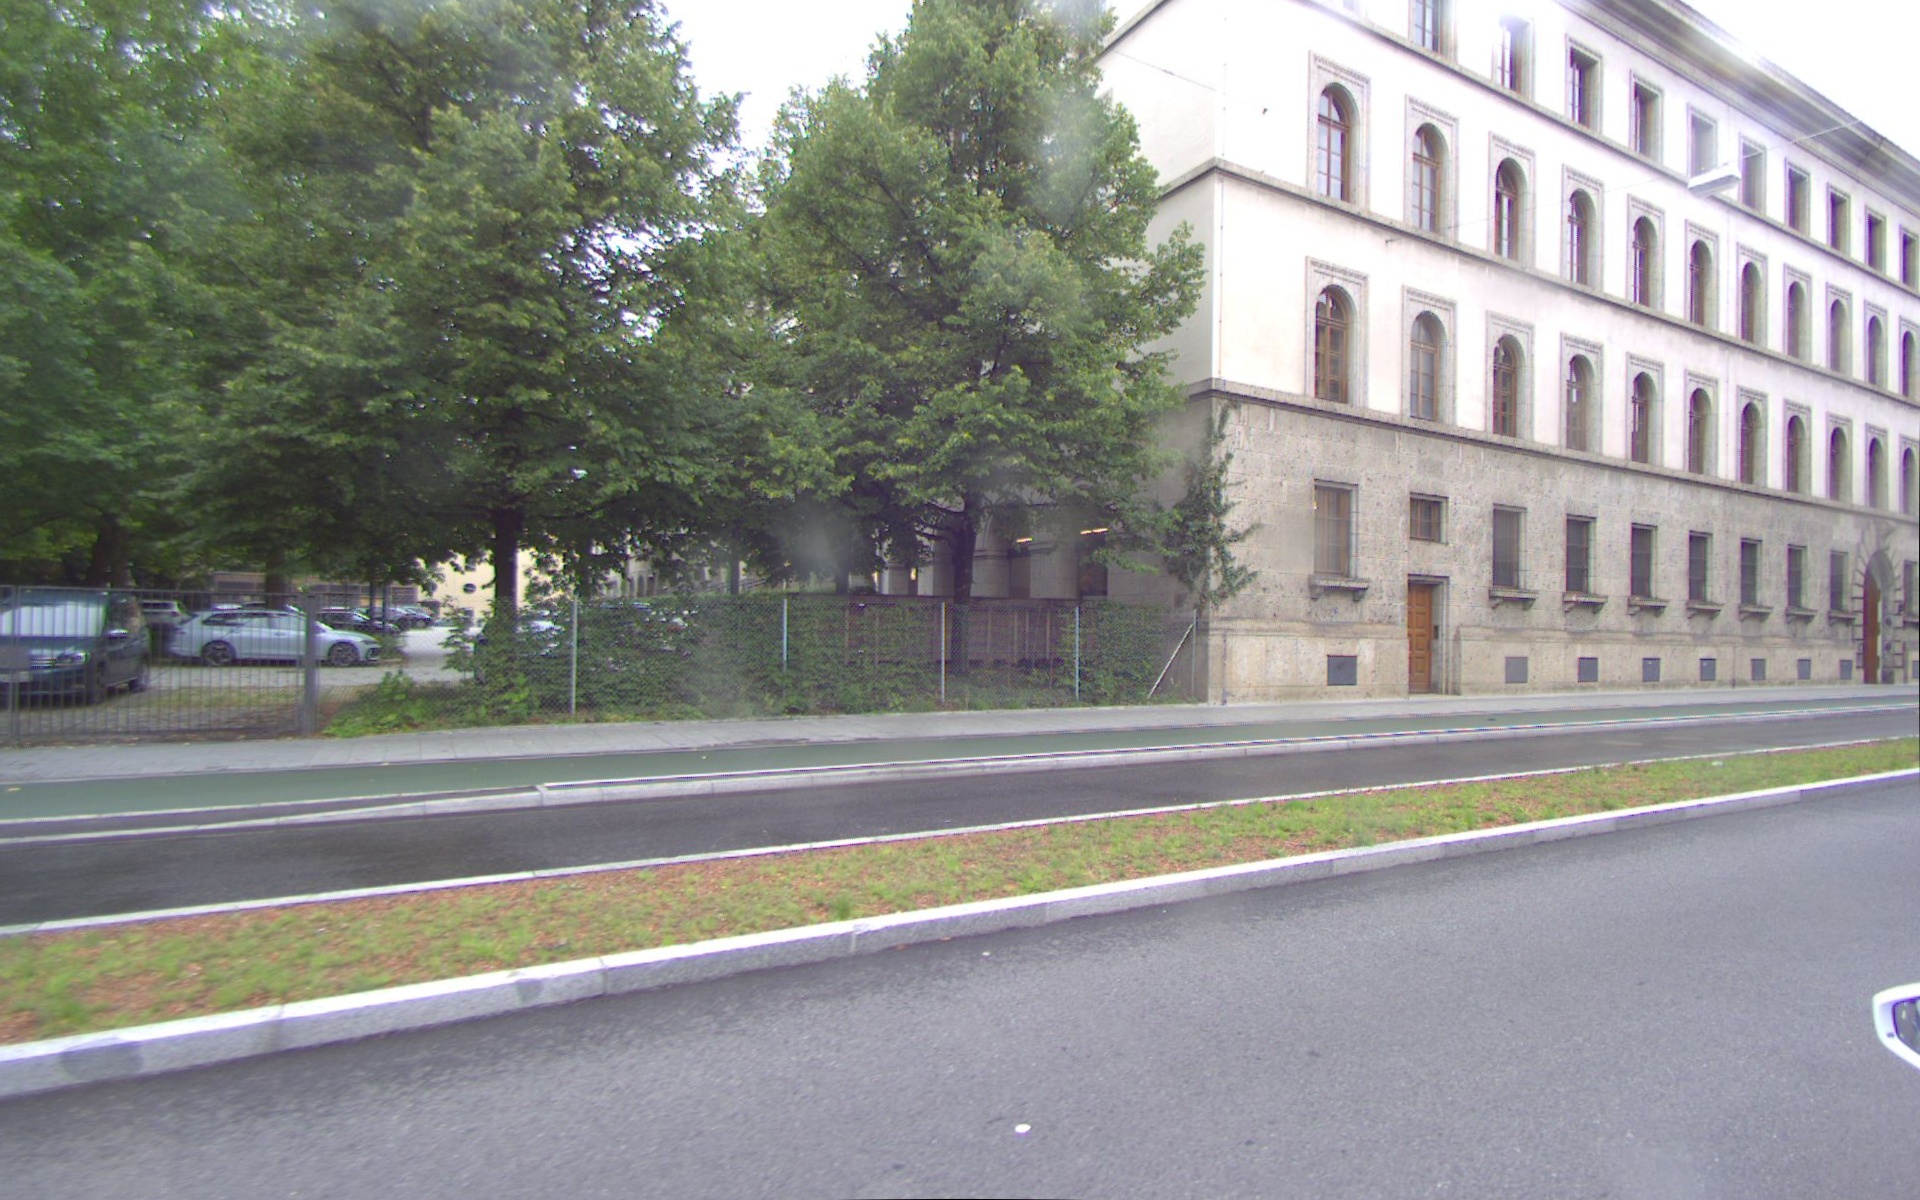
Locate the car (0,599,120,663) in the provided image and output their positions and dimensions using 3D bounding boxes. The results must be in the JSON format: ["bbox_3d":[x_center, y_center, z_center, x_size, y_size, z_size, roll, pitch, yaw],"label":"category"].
[{"bbox_3d":[-22.737,0.705,23.681,4.214,1.422,1.982,2,0,-32],"label":"car"}]

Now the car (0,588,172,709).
[{"bbox_3d":[-14.912,0.733,16.745,1.851,1.732,4.014,4,-1,-25],"label":"car"}]

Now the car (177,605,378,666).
[{"bbox_3d":[-17.830,0.939,26.491,4.214,1.467,1.982,2,0,-32],"label":"car"}]
